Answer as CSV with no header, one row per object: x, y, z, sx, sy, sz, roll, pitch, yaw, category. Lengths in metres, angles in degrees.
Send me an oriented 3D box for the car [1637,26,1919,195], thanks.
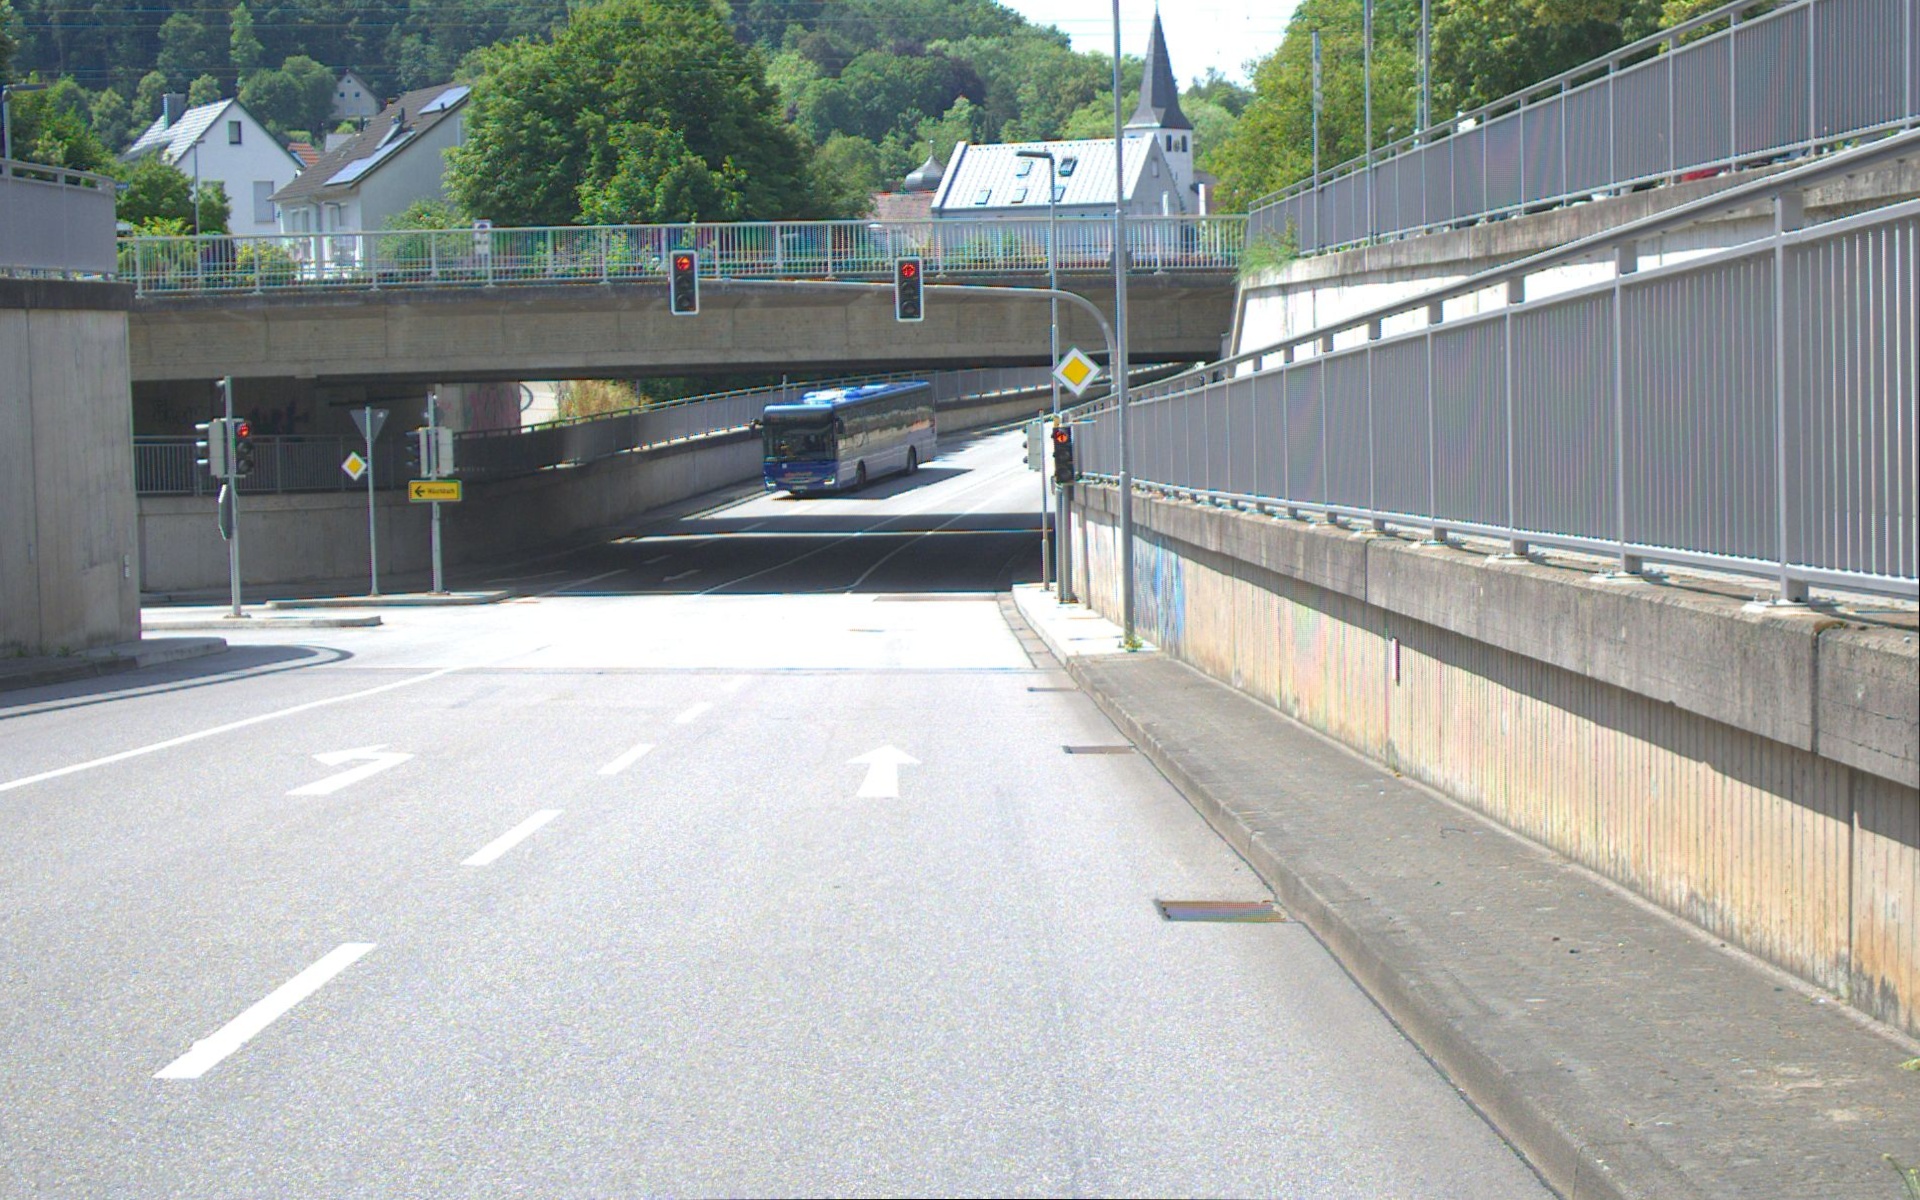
9.334,-5.175,36.485,3.987,1.562,1.770,0,1,3,car

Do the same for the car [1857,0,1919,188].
9.770,-4.449,28.986,3.987,1.764,1.770,0,1,3,car

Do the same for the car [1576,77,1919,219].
9.436,-5.344,40.800,3.987,1.481,1.770,0,1,3,car

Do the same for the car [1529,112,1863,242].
9.472,-5.453,44.467,3.987,1.481,1.770,0,1,3,car

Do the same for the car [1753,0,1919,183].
9.455,-4.662,31.544,3.987,1.481,1.770,0,1,3,car

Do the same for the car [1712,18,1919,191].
9.602,-4.877,33.974,3.987,1.481,1.770,0,1,3,car

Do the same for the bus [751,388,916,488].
-4.093,-5.512,115.005,2.582,3.161,12.372,0,4,12,bus
